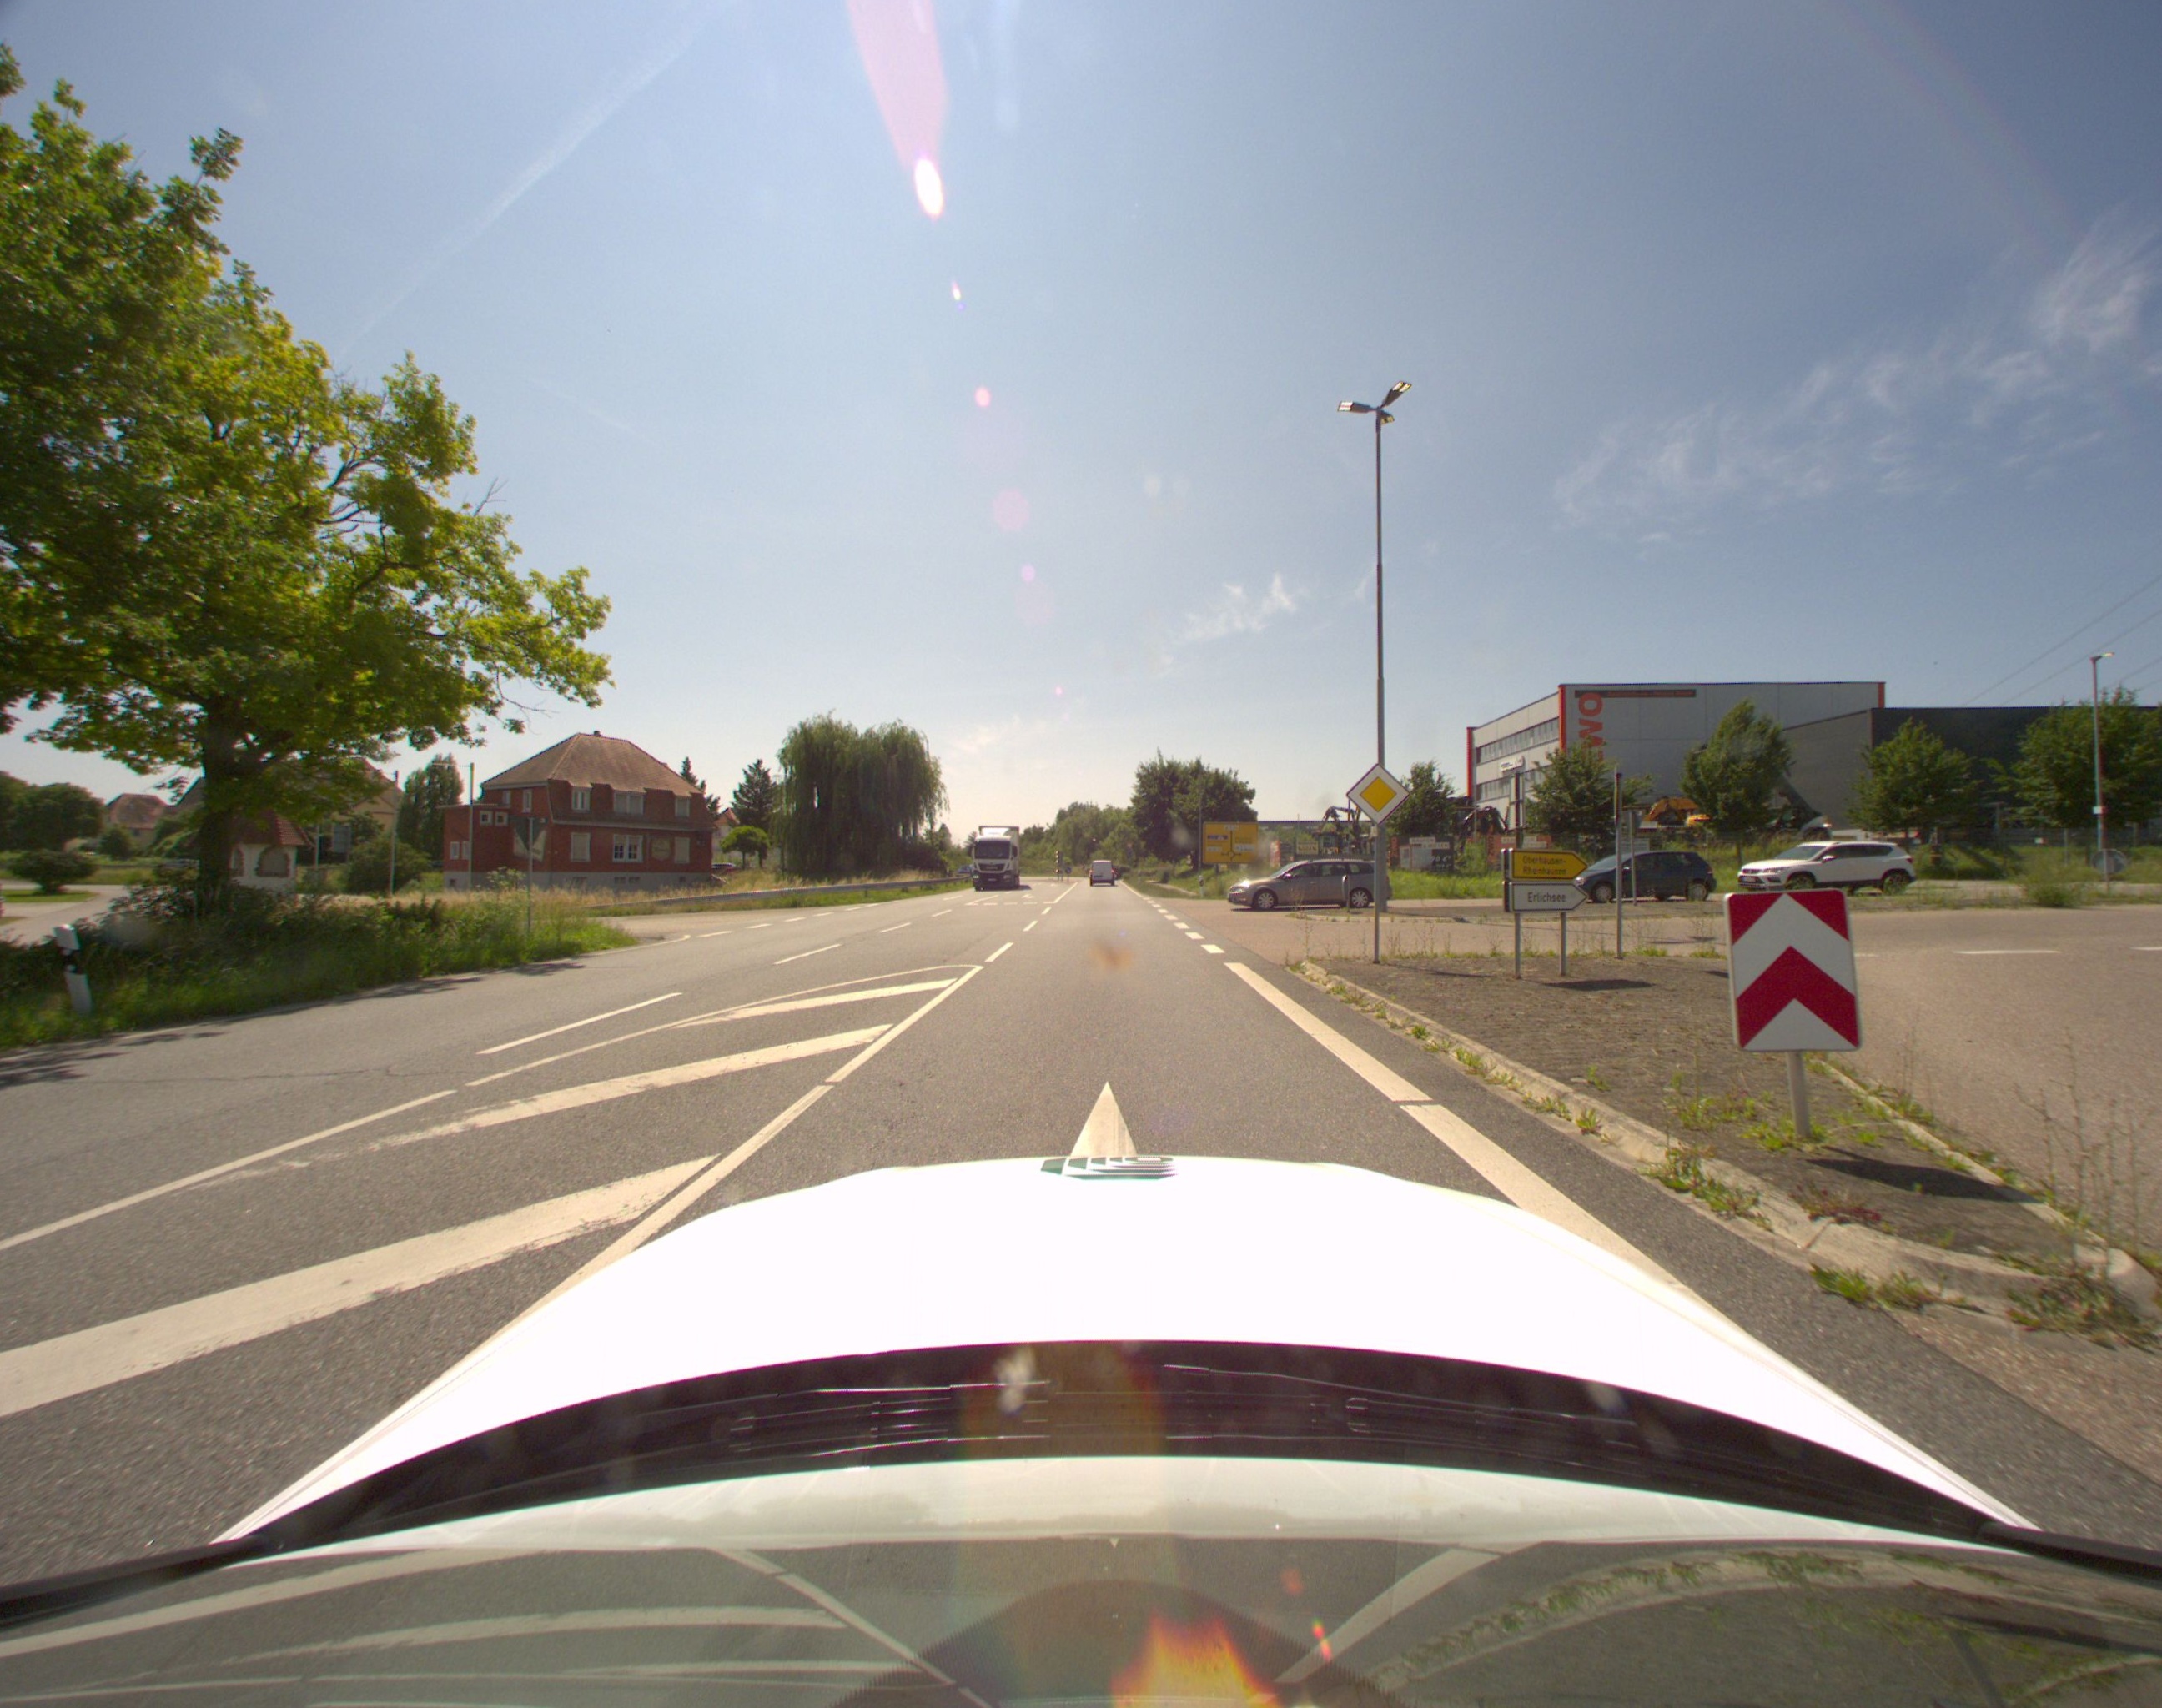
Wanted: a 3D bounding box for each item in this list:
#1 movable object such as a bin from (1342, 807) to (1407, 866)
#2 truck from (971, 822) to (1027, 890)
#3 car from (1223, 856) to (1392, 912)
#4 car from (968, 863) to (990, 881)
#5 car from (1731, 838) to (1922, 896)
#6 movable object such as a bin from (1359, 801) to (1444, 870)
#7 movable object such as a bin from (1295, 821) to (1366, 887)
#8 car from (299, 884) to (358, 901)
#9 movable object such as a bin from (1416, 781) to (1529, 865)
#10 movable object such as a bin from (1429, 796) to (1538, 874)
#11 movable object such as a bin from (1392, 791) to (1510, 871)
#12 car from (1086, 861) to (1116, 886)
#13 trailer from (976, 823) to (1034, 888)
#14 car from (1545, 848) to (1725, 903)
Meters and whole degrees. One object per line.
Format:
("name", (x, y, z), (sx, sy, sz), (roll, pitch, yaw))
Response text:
("movable object such as a bin", (26.835, -1.555, 74.638), (5.062, 5.056, 2.781), (1, -3, 4))
("truck", (-5.197, 0.145, 52.732), (2.781, 4.056, 6.752), (2, 0, 0))
("car", (6.609, 0.860, 24.125), (4.494, 1.508, 1.915), (-1, -1, 2))
("car", (-9.754, 1.687, 77.863), (1.847, 1.567, 3.986), (-1, -1, -10))
("car", (22.487, 0.377, 24.692), (4.066, 1.621, 1.761), (-1, 1, 4))
("movable object such as a bin", (25.743, -1.420, 65.629), (5.690, 5.270, 3.224), (1, -3, 4))
("movable object such as a bin", (13.321, 0.112, 43.831), (2.314, 3.250, 5.102), (2, -3, 1))
("car", (-71.433, 3.623, 77.327), (1.569, 1.442, 4.024), (-1, 0, 43))
("movable object such as a bin", (25.250, -1.935, 52.785), (5.891, 5.106, 3.112), (1, -3, 4))
("movable object such as a bin", (23.485, -1.080, 47.691), (5.062, 4.276, 2.837), (1, -3, 4))
("movable object such as a bin", (25.590, -1.516, 56.666), (6.561, 5.148, 3.810), (1, -3, 4))
("car", (1.370, 1.379, 58.049), (1.899, 1.733, 3.818), (0, -1, -3))
("trailer", (-5.227, 0.114, 58.776), (2.781, 4.056, 13.499), (2, 0, 0))
("car", (15.779, 0.611, 23.337), (3.981, 1.440, 1.636), (-1, -1, 4))
